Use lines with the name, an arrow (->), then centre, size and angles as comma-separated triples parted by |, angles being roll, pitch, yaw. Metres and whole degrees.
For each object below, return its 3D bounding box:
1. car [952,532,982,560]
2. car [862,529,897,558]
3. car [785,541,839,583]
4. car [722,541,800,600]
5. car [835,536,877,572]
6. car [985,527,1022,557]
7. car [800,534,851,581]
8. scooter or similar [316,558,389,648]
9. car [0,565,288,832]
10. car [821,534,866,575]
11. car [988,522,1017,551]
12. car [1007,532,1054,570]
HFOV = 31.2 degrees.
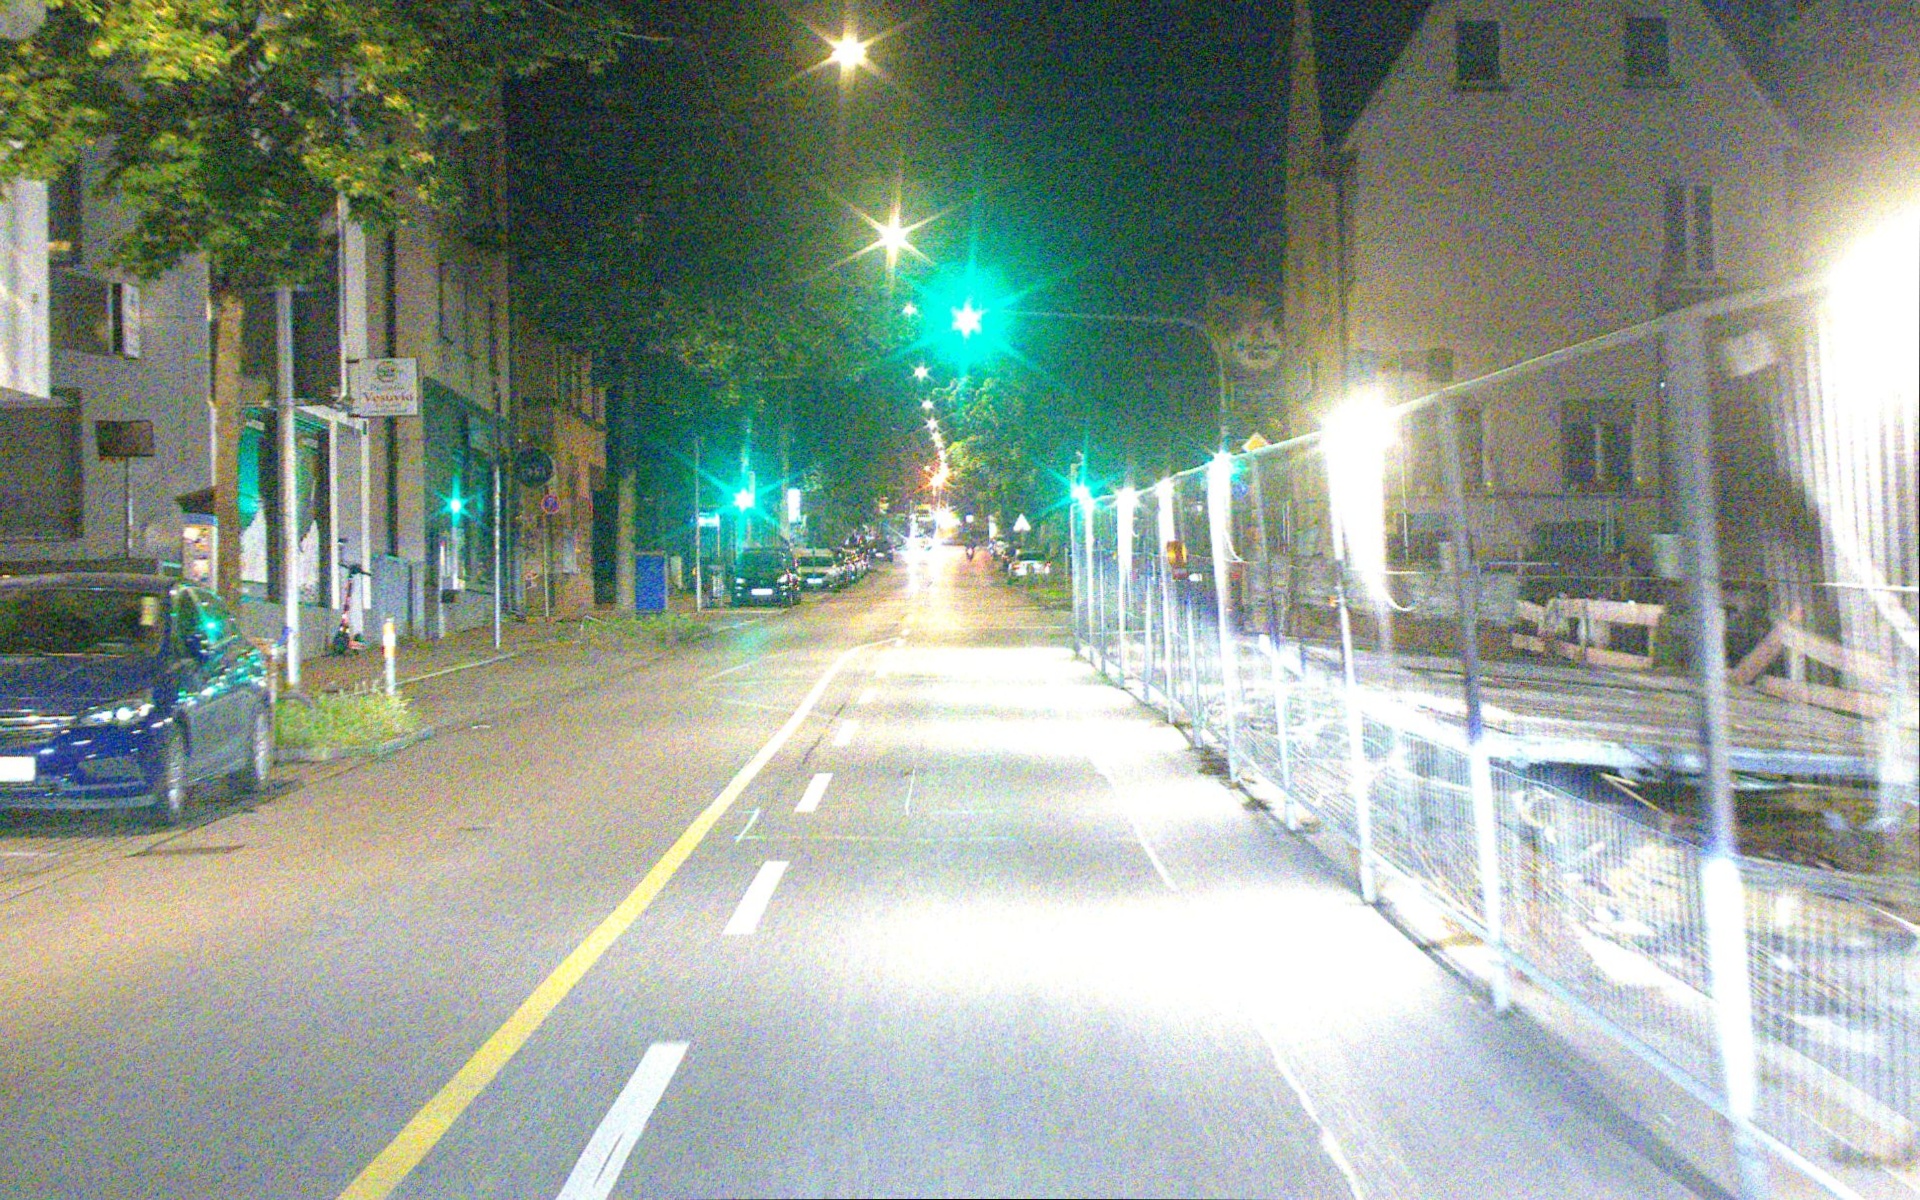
car -> 0.489, -3.512, 223.026 | 1.873, 1.808, 4.205 | -1, 1, 1
car -> -5.175, -3.622, 220.862 | 2.077, 1.808, 4.205 | -1, 1, 1
car -> -5.595, -1.454, 130.310 | 1.873, 1.539, 4.205 | -1, 1, 0
car -> -5.361, -0.812, 93.003 | 1.873, 1.539, 4.205 | -1, 1, 0
car -> -5.198, -2.311, 172.642 | 1.873, 1.808, 4.205 | -1, 1, 1
car -> 2.277, -3.048, 182.298 | 1.873, 1.539, 4.205 | -1, 1, 0
car -> -5.316, -1.717, 136.388 | 1.873, 1.808, 4.205 | -1, 1, 0
scooter or similar -> -8.272, 0.052, 46.869 | 0.528, 1.161, 2.507 | -2, -1, 0
car -> -5.342, 0.526, 20.934 | 1.671, 1.438, 4.205 | -1, 1, 0
car -> -5.238, -2.042, 154.688 | 1.873, 1.808, 4.205 | -1, 1, 0
car -> 2.849, -4.253, 230.849 | 1.873, 1.900, 4.205 | -1, 1, 0
car -> 2.921, -2.038, 143.347 | 1.873, 1.539, 4.205 | -1, 1, 0
